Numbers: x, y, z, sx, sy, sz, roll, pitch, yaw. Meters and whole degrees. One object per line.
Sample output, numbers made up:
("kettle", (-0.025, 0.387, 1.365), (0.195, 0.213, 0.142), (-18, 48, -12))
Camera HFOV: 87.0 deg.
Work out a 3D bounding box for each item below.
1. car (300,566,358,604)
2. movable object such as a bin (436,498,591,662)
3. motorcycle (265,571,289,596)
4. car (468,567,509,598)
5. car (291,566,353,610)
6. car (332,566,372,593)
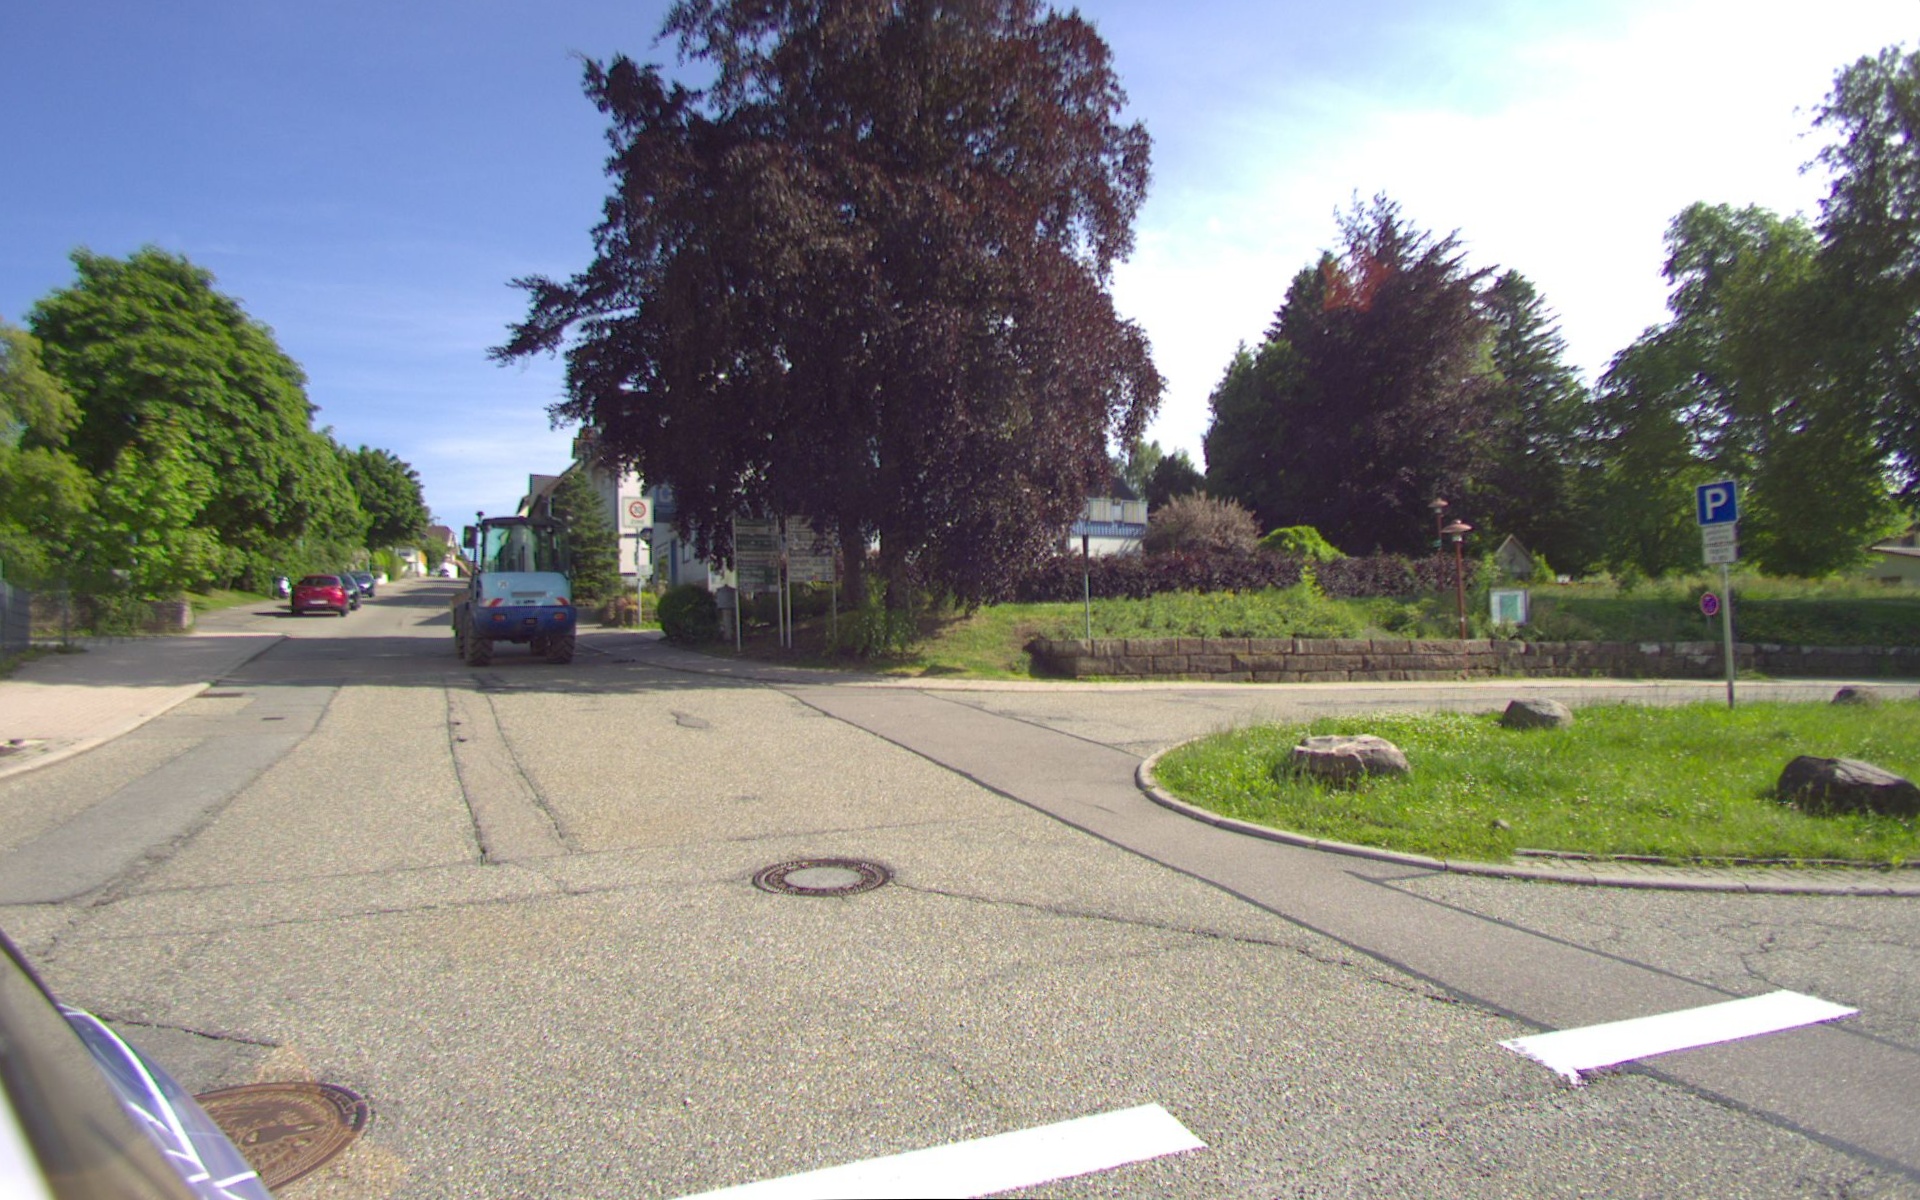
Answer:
("car", (-26.061, -0.618, 41.895), (1.745, 1.481, 3.823), (1, 1, -28))
("movable object such as a bin", (-8.874, -0.394, 19.829), (1.966, 2.790, 5.120), (1, 1, -33))
("motorcycle", (-32.992, -0.795, 48.895), (0.772, 1.191, 2.195), (1, 1, -30))
("car", (-25.308, -0.933, 54.300), (1.778, 1.613, 3.823), (1, 1, -28))
("car", (-23.242, -0.449, 36.978), (1.596, 1.509, 3.823), (1, 1, -28))
("car", (-34.953, -1.162, 58.216), (1.745, 1.481, 3.823), (1, 1, -28))
